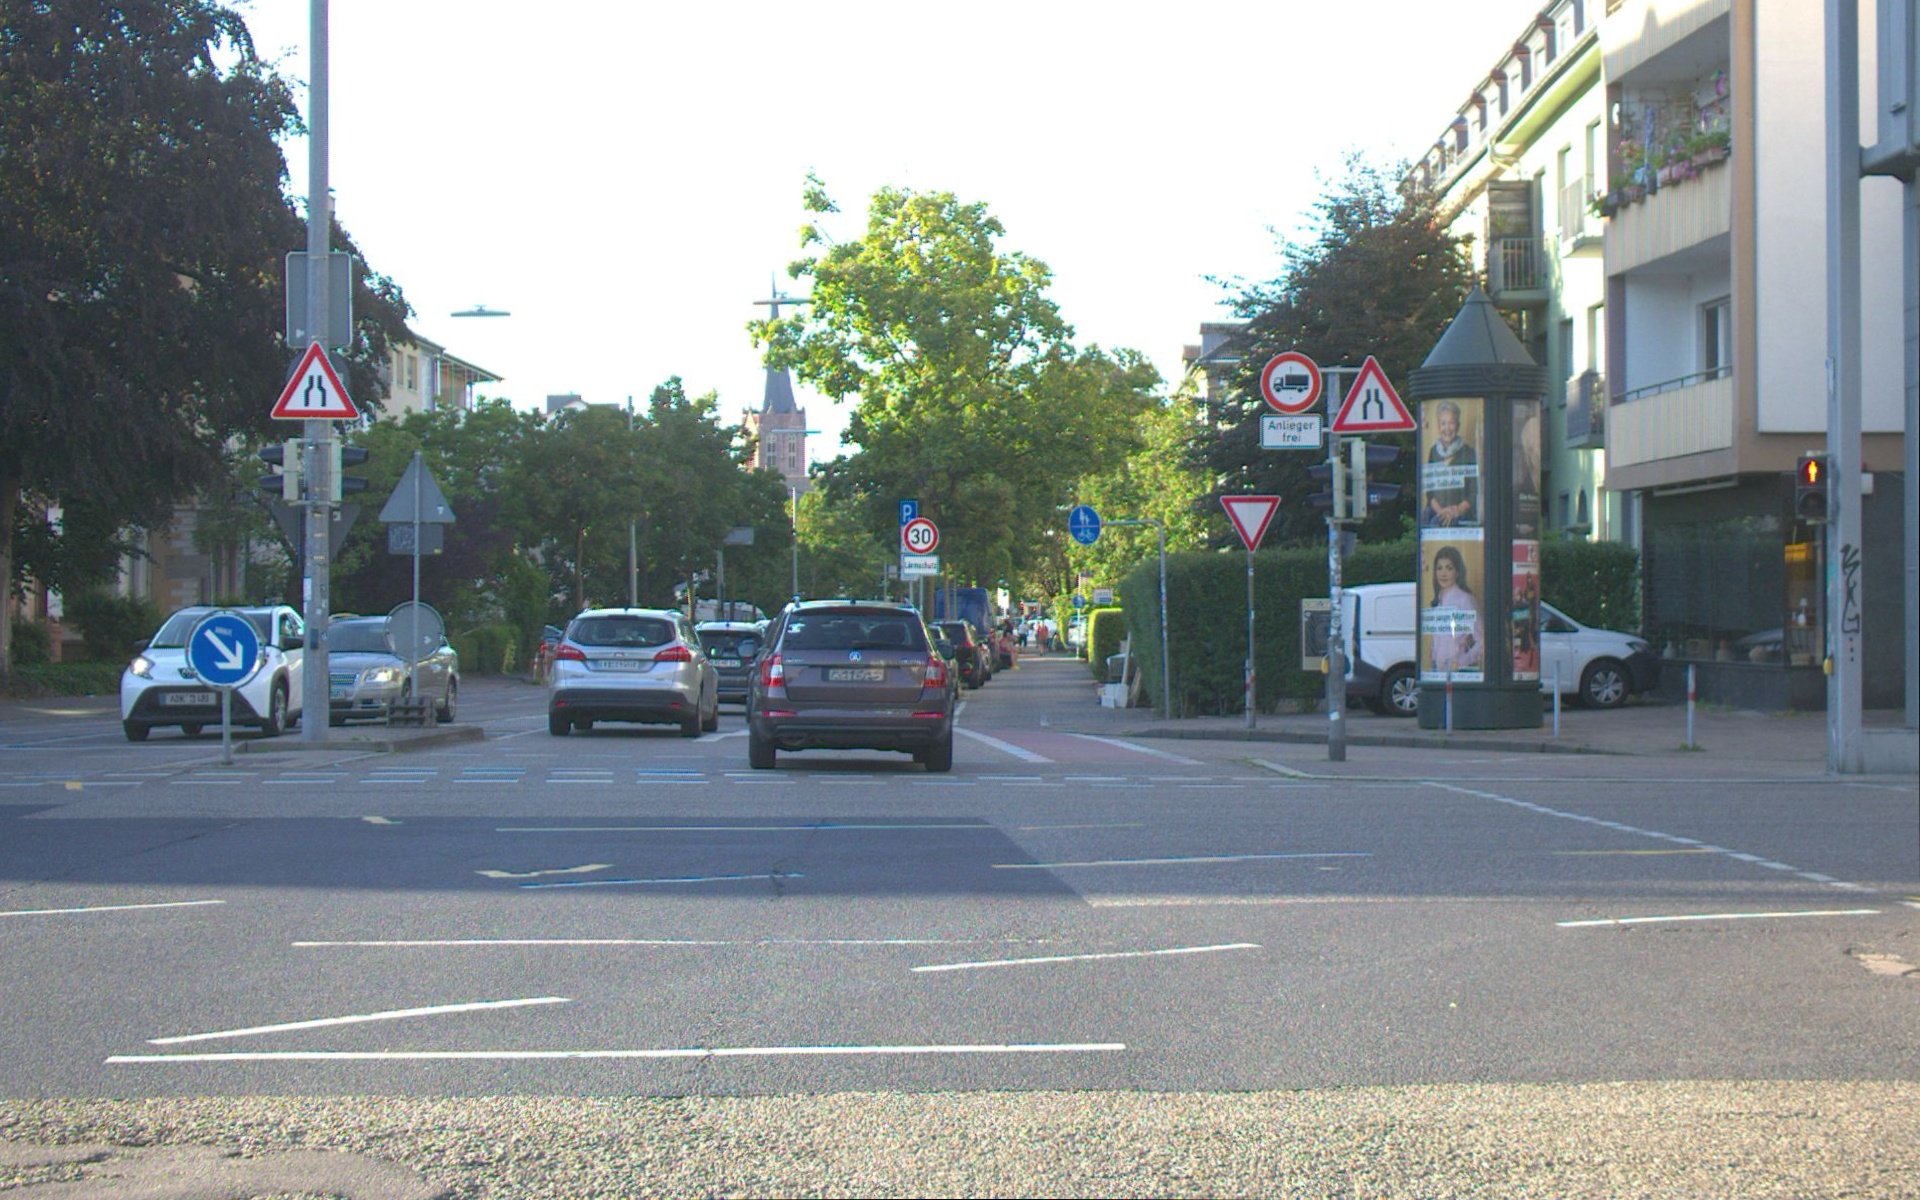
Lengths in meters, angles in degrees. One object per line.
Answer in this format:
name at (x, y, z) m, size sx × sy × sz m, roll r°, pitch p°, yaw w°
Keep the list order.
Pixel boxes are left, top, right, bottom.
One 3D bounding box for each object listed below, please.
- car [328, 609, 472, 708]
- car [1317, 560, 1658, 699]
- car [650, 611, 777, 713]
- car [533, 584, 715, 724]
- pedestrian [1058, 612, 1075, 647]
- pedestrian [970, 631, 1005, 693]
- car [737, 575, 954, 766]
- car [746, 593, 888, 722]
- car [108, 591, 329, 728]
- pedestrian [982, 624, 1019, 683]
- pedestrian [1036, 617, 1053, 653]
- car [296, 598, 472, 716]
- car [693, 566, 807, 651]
car at (-9.053, 0.921, 55.816) m, size 1.877 × 1.503 × 4.000 m, roll 0°, pitch 0°, yaw -3°
car at (7.241, 0.391, 47.466) m, size 4.363 × 1.871 × 2.000 m, roll 0°, pitch 0°, yaw -1°
car at (-3.975, 0.982, 55.964) m, size 1.748 × 1.559 × 4.050 m, roll 0°, pitch 0°, yaw 0°
car at (-3.938, 0.601, 40.869) m, size 1.748 × 1.559 × 4.050 m, roll 0°, pitch 0°, yaw 0°
pedestrian at (5.052, 1.402, 163.519) m, size 0.766 × 1.678 × 0.999 m, roll 0°, pitch 0°, yaw -1°
pedestrian at (0.713, 1.611, 89.566) m, size 0.862 × 1.602 × 0.705 m, roll 0°, pitch 0°, yaw -2°
car at (-0.940, 0.562, 30.156) m, size 1.748 × 1.559 × 4.050 m, roll 0°, pitch 0°, yaw 0°
car at (-1.875, 0.735, 46.096) m, size 1.819 × 1.634 × 4.000 m, roll 0°, pitch 0°, yaw -1°
car at (-8.433, 0.638, 39.410) m, size 1.847 × 1.456 × 4.050 m, roll 0°, pitch 0°, yaw -3°
pedestrian at (1.400, 1.836, 118.304) m, size 1.209 × 2.007 × 1.422 m, roll 0°, pitch 0°, yaw -2°
pedestrian at (3.985, 1.641, 162.965) m, size 0.766 × 1.678 × 0.999 m, roll 0°, pitch 0°, yaw -1°
car at (-7.599, 0.717, 45.662) m, size 1.847 × 1.456 × 4.050 m, roll 0°, pitch 0°, yaw -3°
car at (-4.018, 0.186, 66.328) m, size 1.993 × 1.503 × 4.000 m, roll -1°, pitch -1°, yaw -1°
